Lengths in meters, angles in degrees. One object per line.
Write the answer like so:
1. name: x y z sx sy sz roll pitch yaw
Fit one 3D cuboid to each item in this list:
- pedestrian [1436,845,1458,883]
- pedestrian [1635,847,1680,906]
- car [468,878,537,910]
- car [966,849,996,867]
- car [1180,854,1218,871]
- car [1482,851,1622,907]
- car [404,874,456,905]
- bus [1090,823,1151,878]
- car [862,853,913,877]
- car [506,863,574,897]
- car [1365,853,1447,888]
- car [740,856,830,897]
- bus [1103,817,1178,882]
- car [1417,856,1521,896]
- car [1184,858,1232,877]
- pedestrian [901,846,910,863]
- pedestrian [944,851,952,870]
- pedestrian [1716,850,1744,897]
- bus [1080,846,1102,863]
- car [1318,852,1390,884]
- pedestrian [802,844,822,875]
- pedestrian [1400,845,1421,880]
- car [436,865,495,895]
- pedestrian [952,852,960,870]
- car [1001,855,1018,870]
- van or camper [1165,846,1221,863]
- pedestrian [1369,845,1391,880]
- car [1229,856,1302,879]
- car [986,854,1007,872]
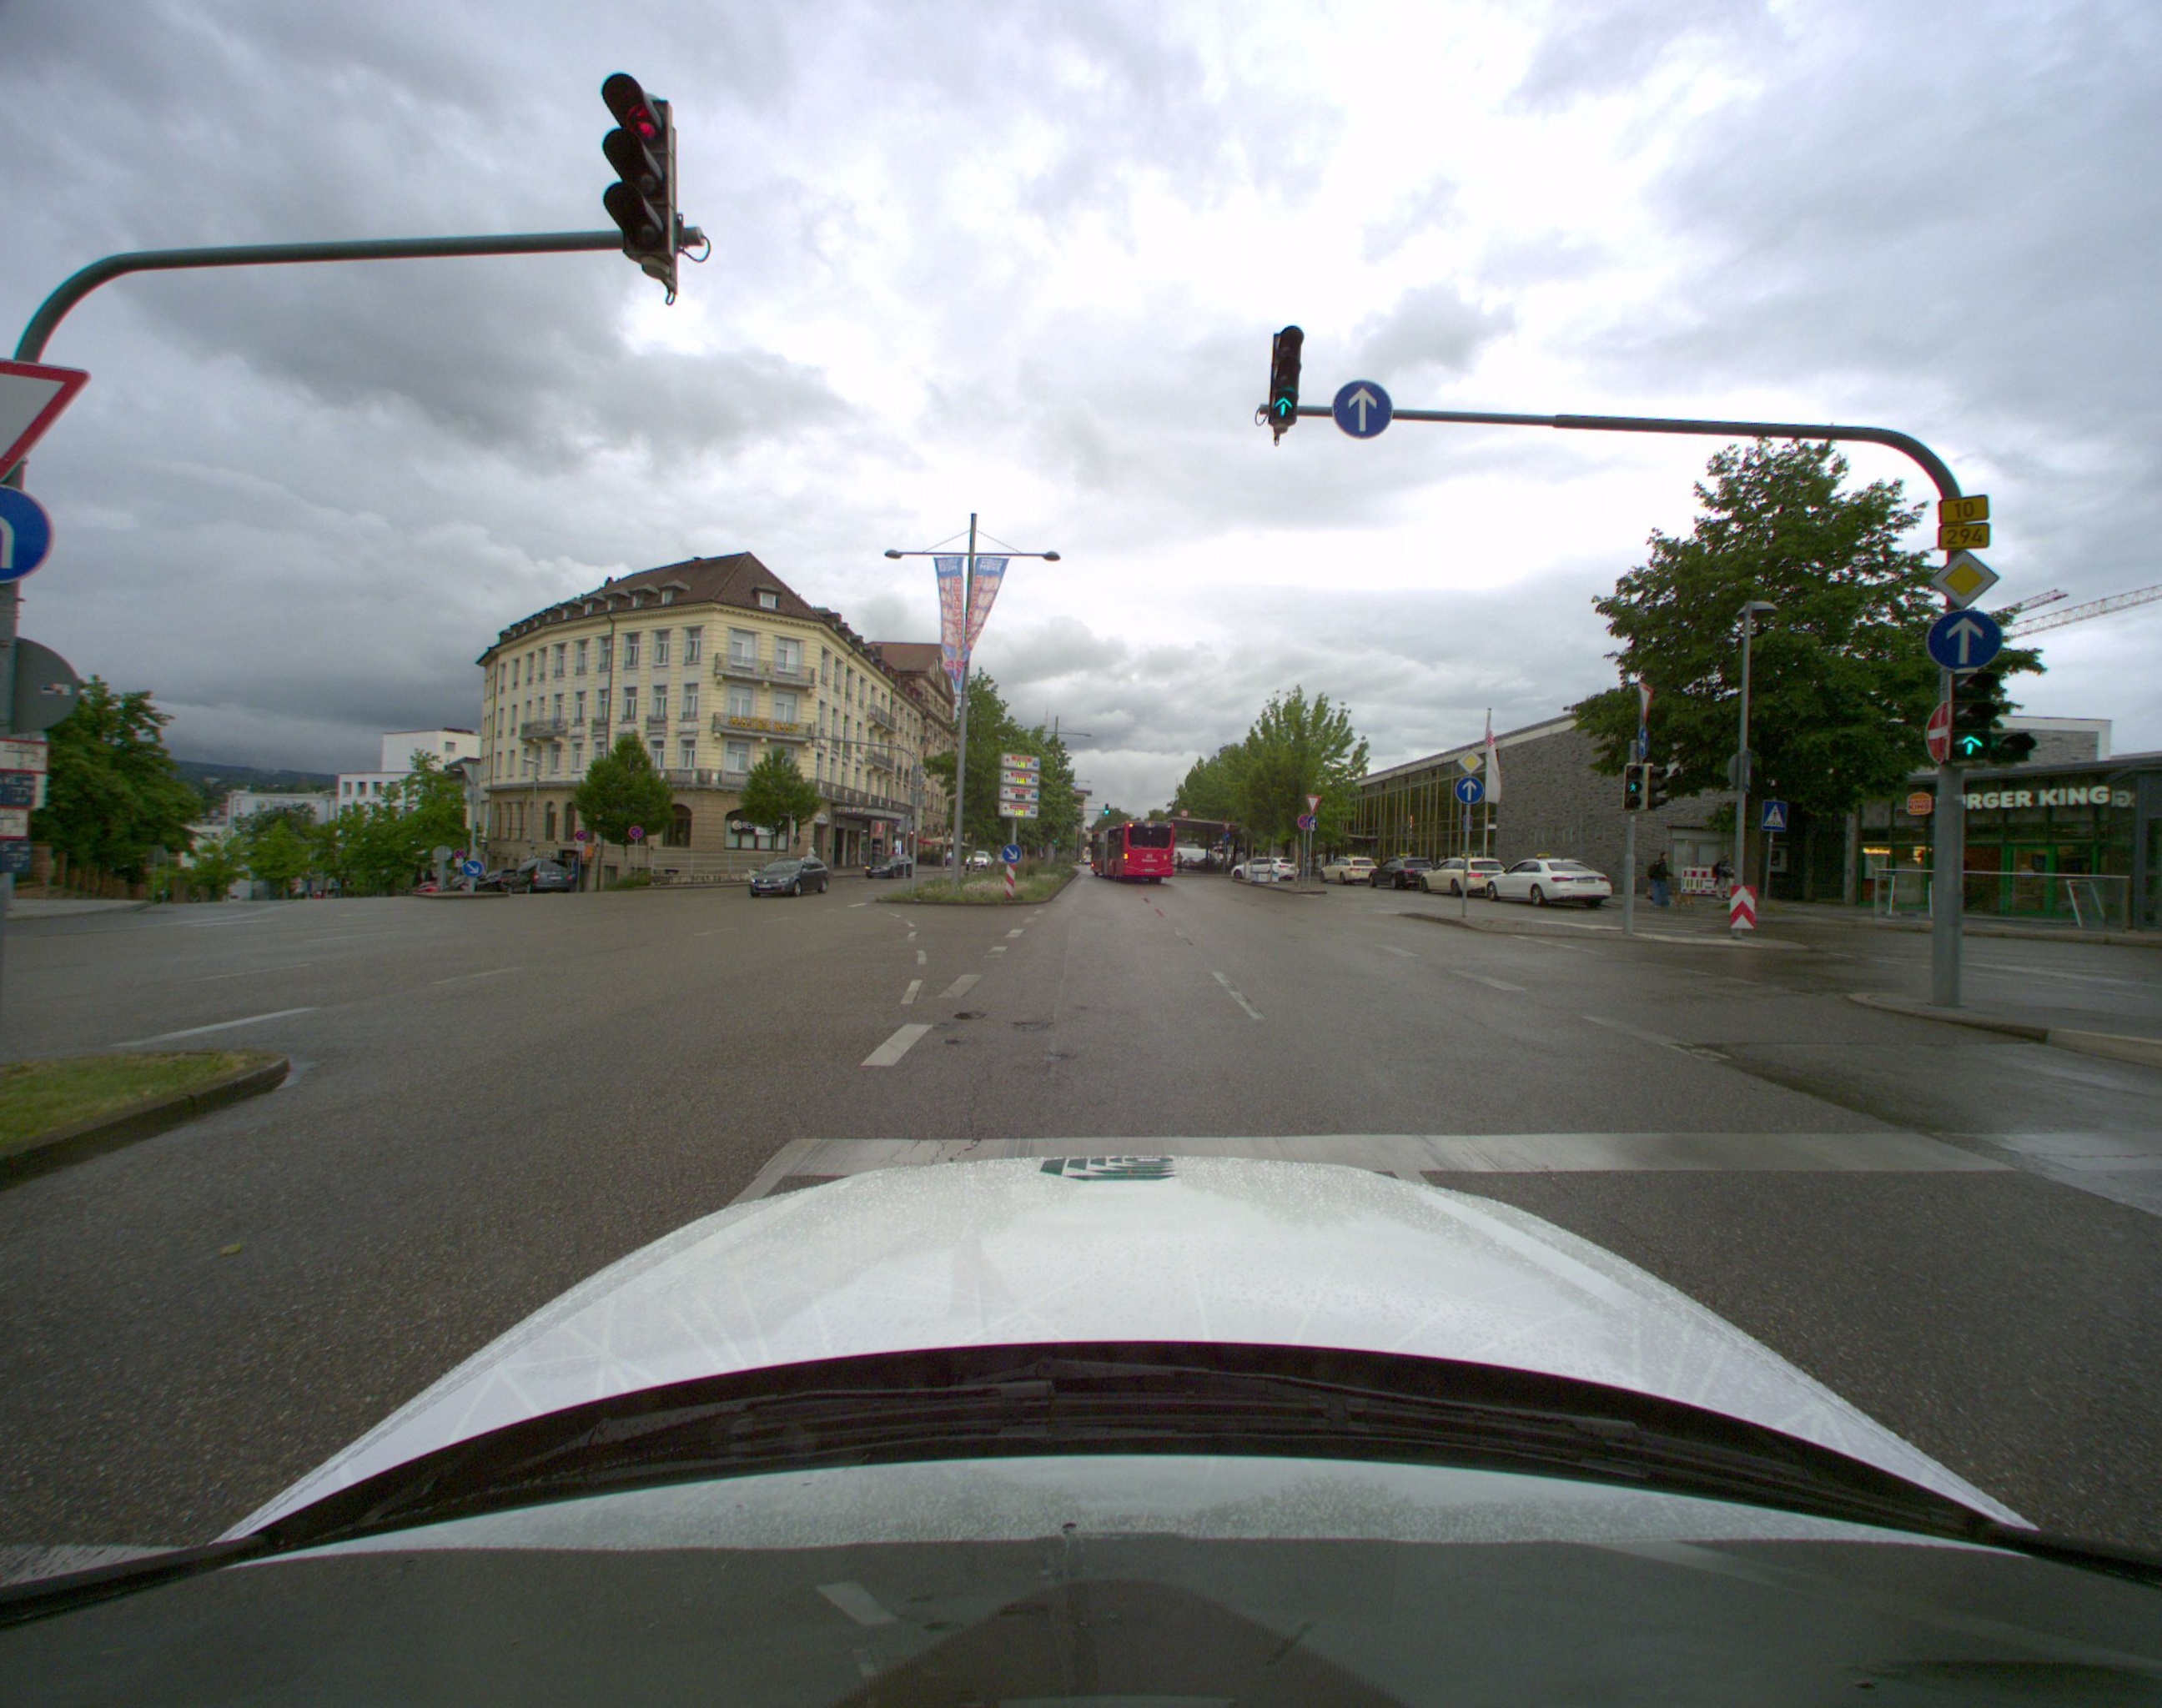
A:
1. pedestrian: 19.836 0.538 44.129 0.808 2.014 0.921 0 0 1
2. pedestrian: 16.693 0.632 23.595 0.805 1.674 0.713 0 0 1
3. car: -31.971 2.185 44.988 3.948 1.640 2.013 -1 -1 37
4. car: -8.336 0.302 68.243 1.747 1.369 4.065 0 1 4
5. car: 14.024 0.987 96.499 3.998 2.014 1.988 0 0 -18
6. car: 14.648 0.725 25.657 1.768 1.589 4.615 0 0 0
7. car: -41.187 2.211 51.490 3.575 1.812 1.788 0 0 38
8. bus: 2.353 -0.181 52.011 2.737 3.174 10.180 0 0 -4
9. car: -11.686 0.648 49.355 1.746 1.369 4.067 0 1 6
10. car: -27.099 1.273 40.769 3.949 1.568 1.812 0 0 41
11. car: 14.886 0.716 37.602 1.907 1.524 4.741 0 0 0
12. car: -11.338 0.820 31.492 1.747 1.440 4.065 0 1 4
13. bus: 3.026 -0.197 44.057 2.739 3.174 8.104 0 0 -6
14. car: 14.788 0.792 31.376 1.840 1.452 4.666 0 0 0
15. car: 12.821 1.395 82.139 4.348 1.857 1.988 0 0 -18
16. pedestrian: -16.219 0.043 75.181 0.666 1.510 0.513 0 -1 -36
17. pedestrian: -12.532 0.611 76.756 0.573 1.732 0.609 0 0 1
18. pedestrian: 22.866 0.667 28.692 0.558 1.633 0.566 0 0 0
19. bus: 1.864 0.118 156.279 3.750 3.209 15.517 0 0 -1
20. car: 14.683 0.719 44.096 1.990 1.600 4.814 0 0 -5
21. pedestrian: -16.552 0.342 50.108 0.860 1.878 1.023 0 0 1
22. pedestrian: 18.849 0.484 46.601 0.808 2.014 0.922 0 0 2
23. car: -36.311 1.494 48.030 3.864 1.640 1.805 0 0 37
24. pedestrian: -11.755 0.625 76.679 0.672 1.701 0.634 0 0 1
25. car: -8.868 1.077 101.273 1.989 1.791 3.996 0 0 -3
26. van or camper: 14.168 0.095 102.668 6.787 2.014 2.366 0 -1 -25
27. pedestrian: 17.337 0.482 47.237 0.814 2.014 0.914 1 0 -22
28. car: 11.487 0.792 50.944 1.788 1.385 4.318 0 0 -39
29. car: -8.574 0.883 82.952 1.989 1.758 3.995 0 0 -3
